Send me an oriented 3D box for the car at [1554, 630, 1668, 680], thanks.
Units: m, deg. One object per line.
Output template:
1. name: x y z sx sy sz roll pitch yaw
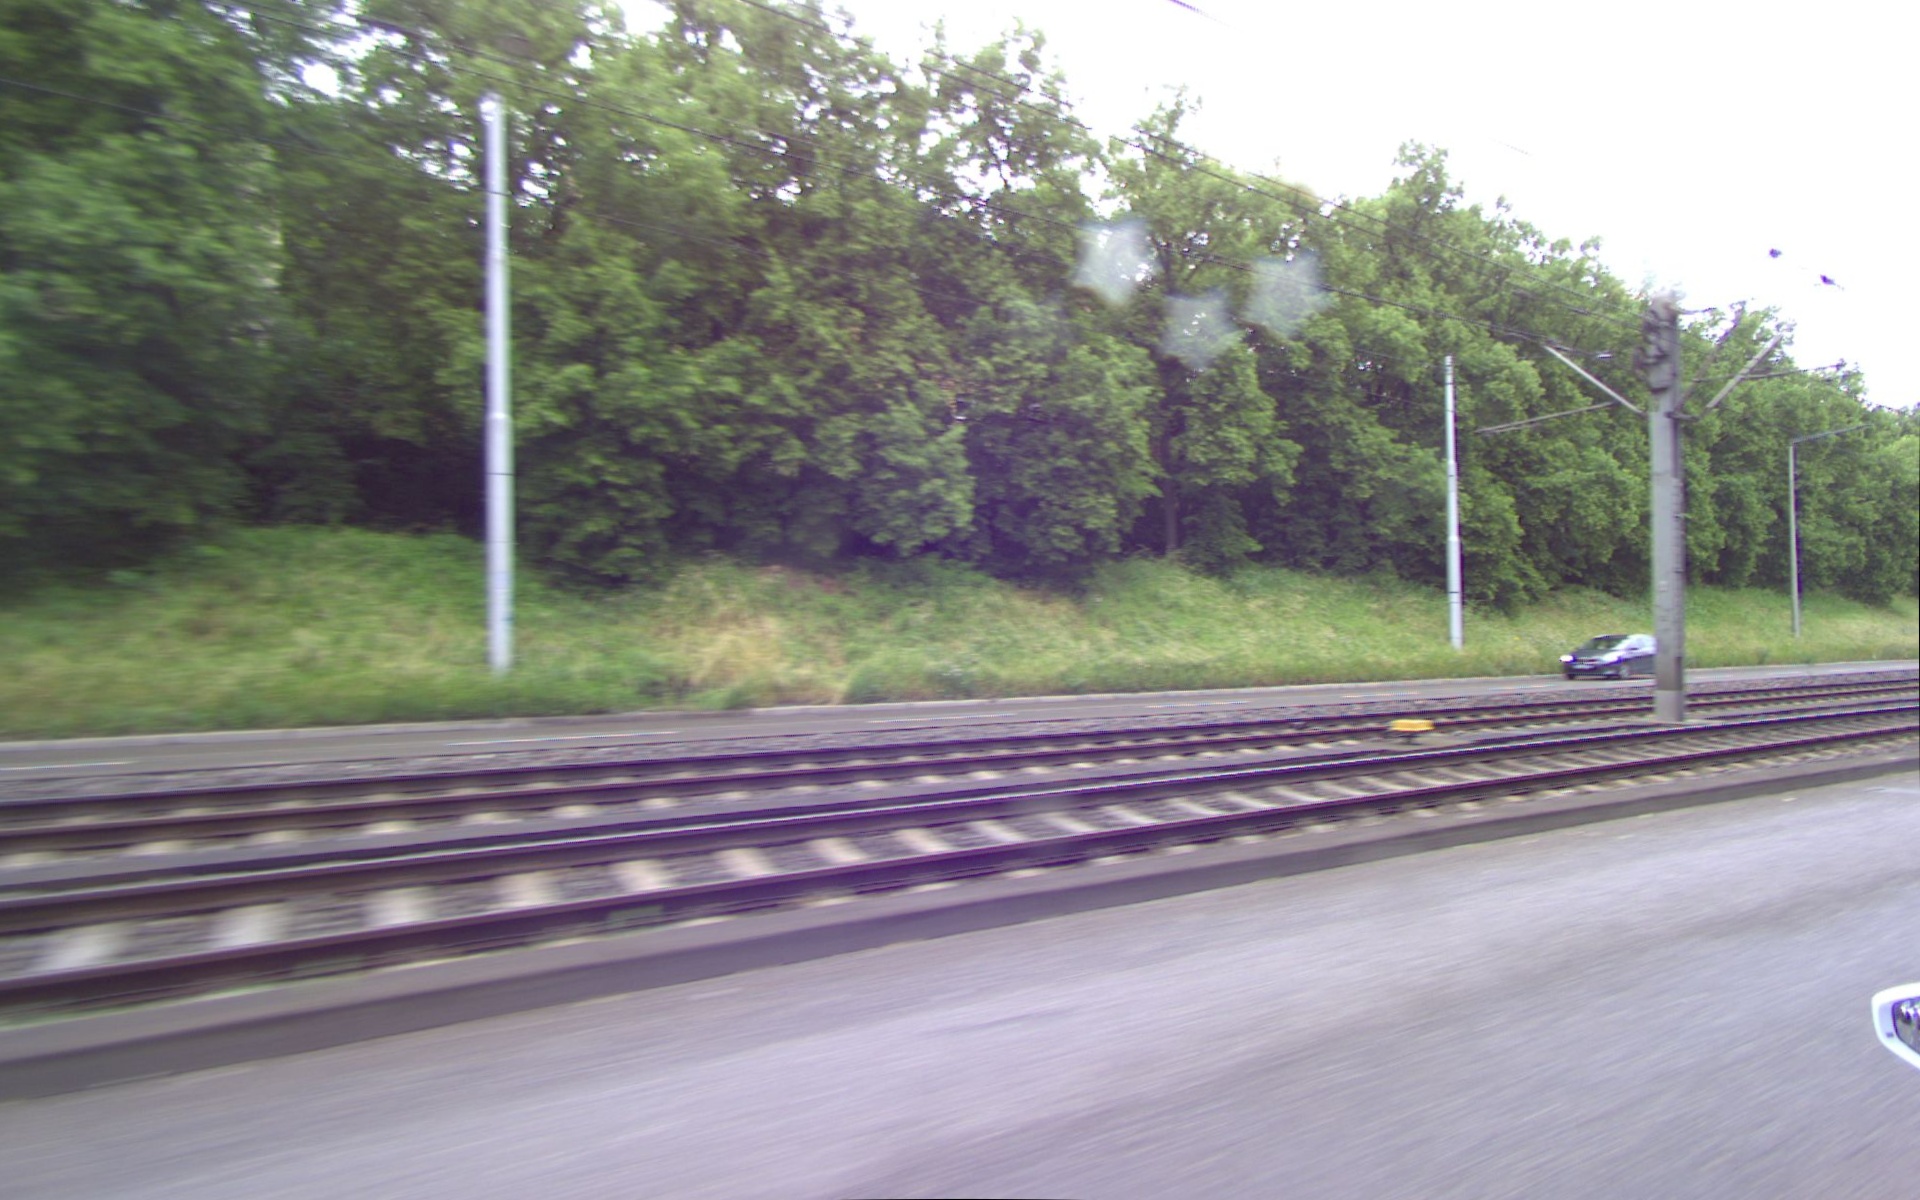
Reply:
1. car: 21.642 1.811 33.357 3.921 1.572 1.774 1 -3 -34
